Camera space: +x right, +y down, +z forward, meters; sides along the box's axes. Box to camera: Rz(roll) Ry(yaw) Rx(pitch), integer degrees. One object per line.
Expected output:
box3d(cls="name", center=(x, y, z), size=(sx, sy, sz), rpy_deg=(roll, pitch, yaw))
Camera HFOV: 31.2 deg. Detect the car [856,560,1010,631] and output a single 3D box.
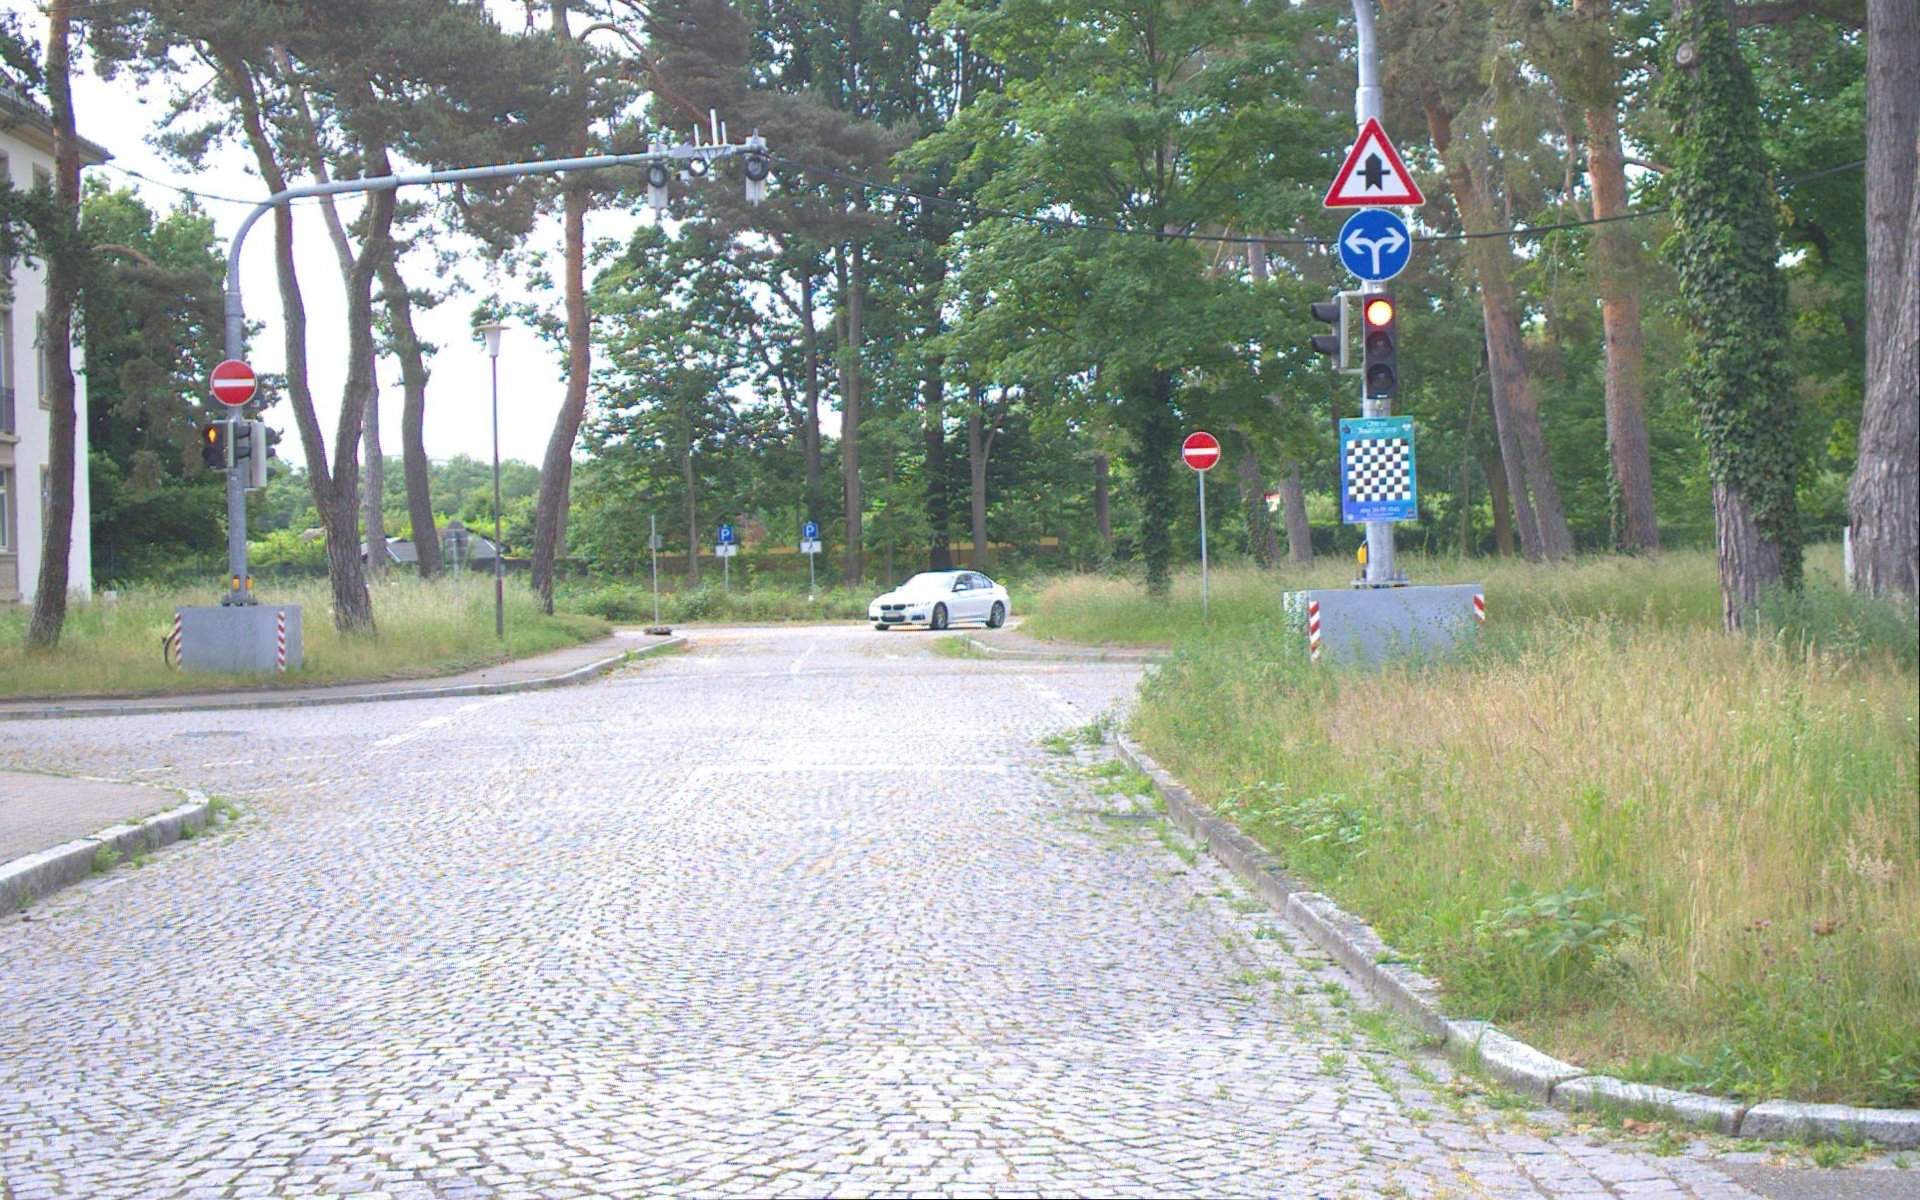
box3d(cls="car", center=(-0.624, -0.130, 84.199), size=(1.776, 1.433, 4.211), rpy_deg=(-4, 1, 30))
